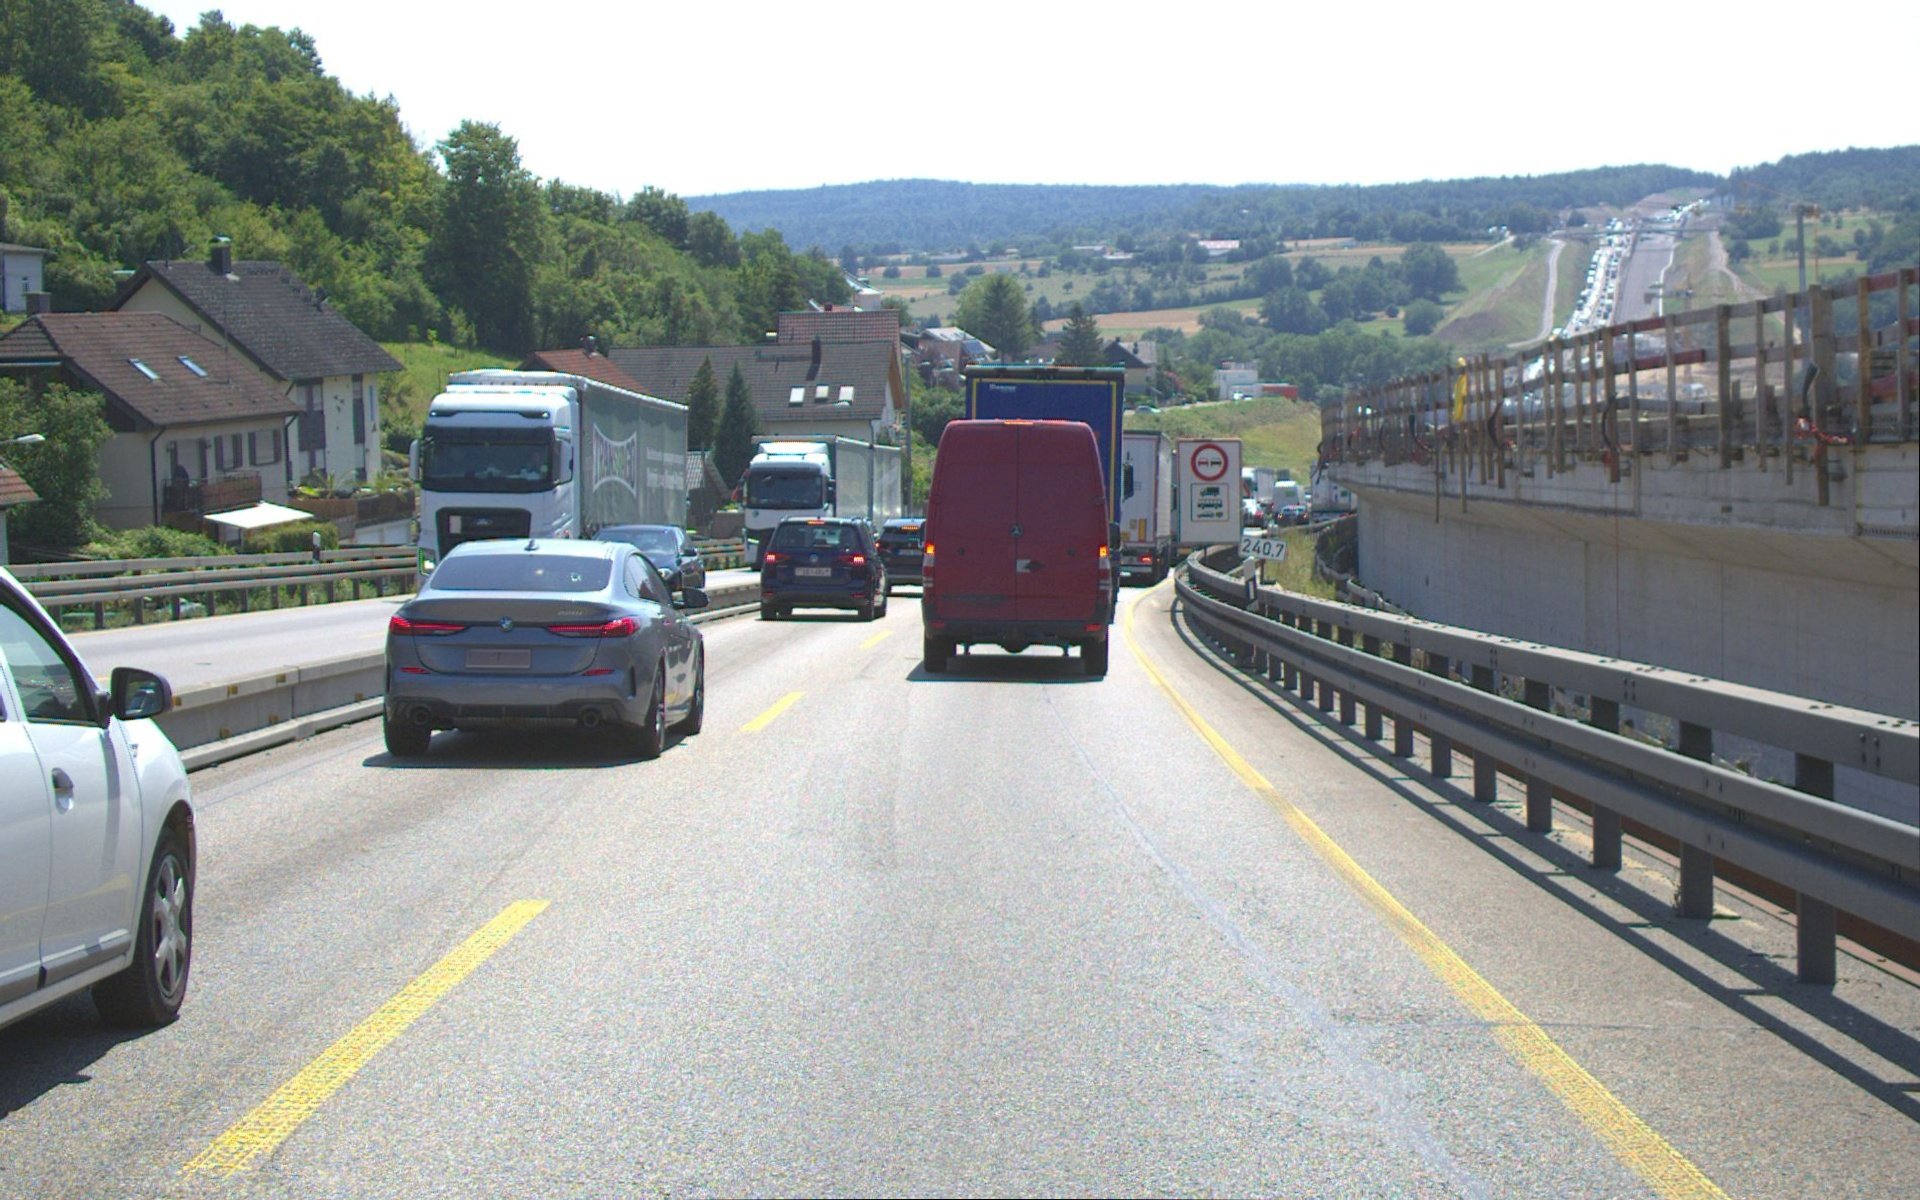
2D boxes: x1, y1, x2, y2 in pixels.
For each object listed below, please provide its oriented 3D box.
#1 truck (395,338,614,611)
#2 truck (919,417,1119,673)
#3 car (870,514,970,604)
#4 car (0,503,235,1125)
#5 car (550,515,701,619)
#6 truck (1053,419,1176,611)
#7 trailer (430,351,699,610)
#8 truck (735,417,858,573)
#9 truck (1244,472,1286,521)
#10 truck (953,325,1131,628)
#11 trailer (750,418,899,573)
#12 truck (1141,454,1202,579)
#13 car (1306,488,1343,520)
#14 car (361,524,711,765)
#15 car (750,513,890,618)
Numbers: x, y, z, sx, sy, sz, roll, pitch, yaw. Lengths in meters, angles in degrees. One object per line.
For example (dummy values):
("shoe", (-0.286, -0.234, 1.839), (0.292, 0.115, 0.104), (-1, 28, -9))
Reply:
("truck", (-8.357, -2.253, 63.587), (3.061, 4.805, 4.645), (1, 0, 4))
("truck", (0.628, -0.574, 36.961), (1.993, 2.570, 4.000), (1, 0, 1))
("car", (-0.809, -0.853, 72.554), (1.729, 1.832, 3.999), (1, 0, 4))
("car", (-3.119, 0.519, 8.646), (1.651, 1.478, 4.266), (-1, 1, 0))
("car", (-5.504, -0.540, 57.105), (1.993, 1.634, 4.854), (1, 0, 0))
("truck", (4.013, -2.168, 91.313), (2.786, 4.799, 9.685), (1, 0, 0))
("trailer", (-7.908, -2.269, 71.112), (3.065, 4.799, 14.000), (1, 0, 3))
("truck", (-4.948, -3.152, 105.102), (2.847, 4.564, 5.786), (1, 0, 6))
("truck", (10.123, -3.417, 114.314), (1.314, 1.537, 3.151), (1, 0, 4))
("truck", (1.328, -2.011, 59.955), (2.786, 4.799, 9.685), (1, 0, 0))
("trailer", (-4.257, -3.233, 111.824), (2.834, 4.625, 14.578), (1, 0, 6))
("truck", (7.546, -2.942, 122.420), (1.994, 4.366, 3.999), (1, 0, 5))
("car", (23.657, -6.224, 223.073), (2.132, 2.007, 3.998), (1, 0, 9))
("car", (-2.786, 0.240, 23.393), (1.795, 1.480, 4.050), (1, 1, 1))
("car", (-2.206, -0.541, 55.173), (1.810, 1.602, 3.718), (1, 0, 4))
